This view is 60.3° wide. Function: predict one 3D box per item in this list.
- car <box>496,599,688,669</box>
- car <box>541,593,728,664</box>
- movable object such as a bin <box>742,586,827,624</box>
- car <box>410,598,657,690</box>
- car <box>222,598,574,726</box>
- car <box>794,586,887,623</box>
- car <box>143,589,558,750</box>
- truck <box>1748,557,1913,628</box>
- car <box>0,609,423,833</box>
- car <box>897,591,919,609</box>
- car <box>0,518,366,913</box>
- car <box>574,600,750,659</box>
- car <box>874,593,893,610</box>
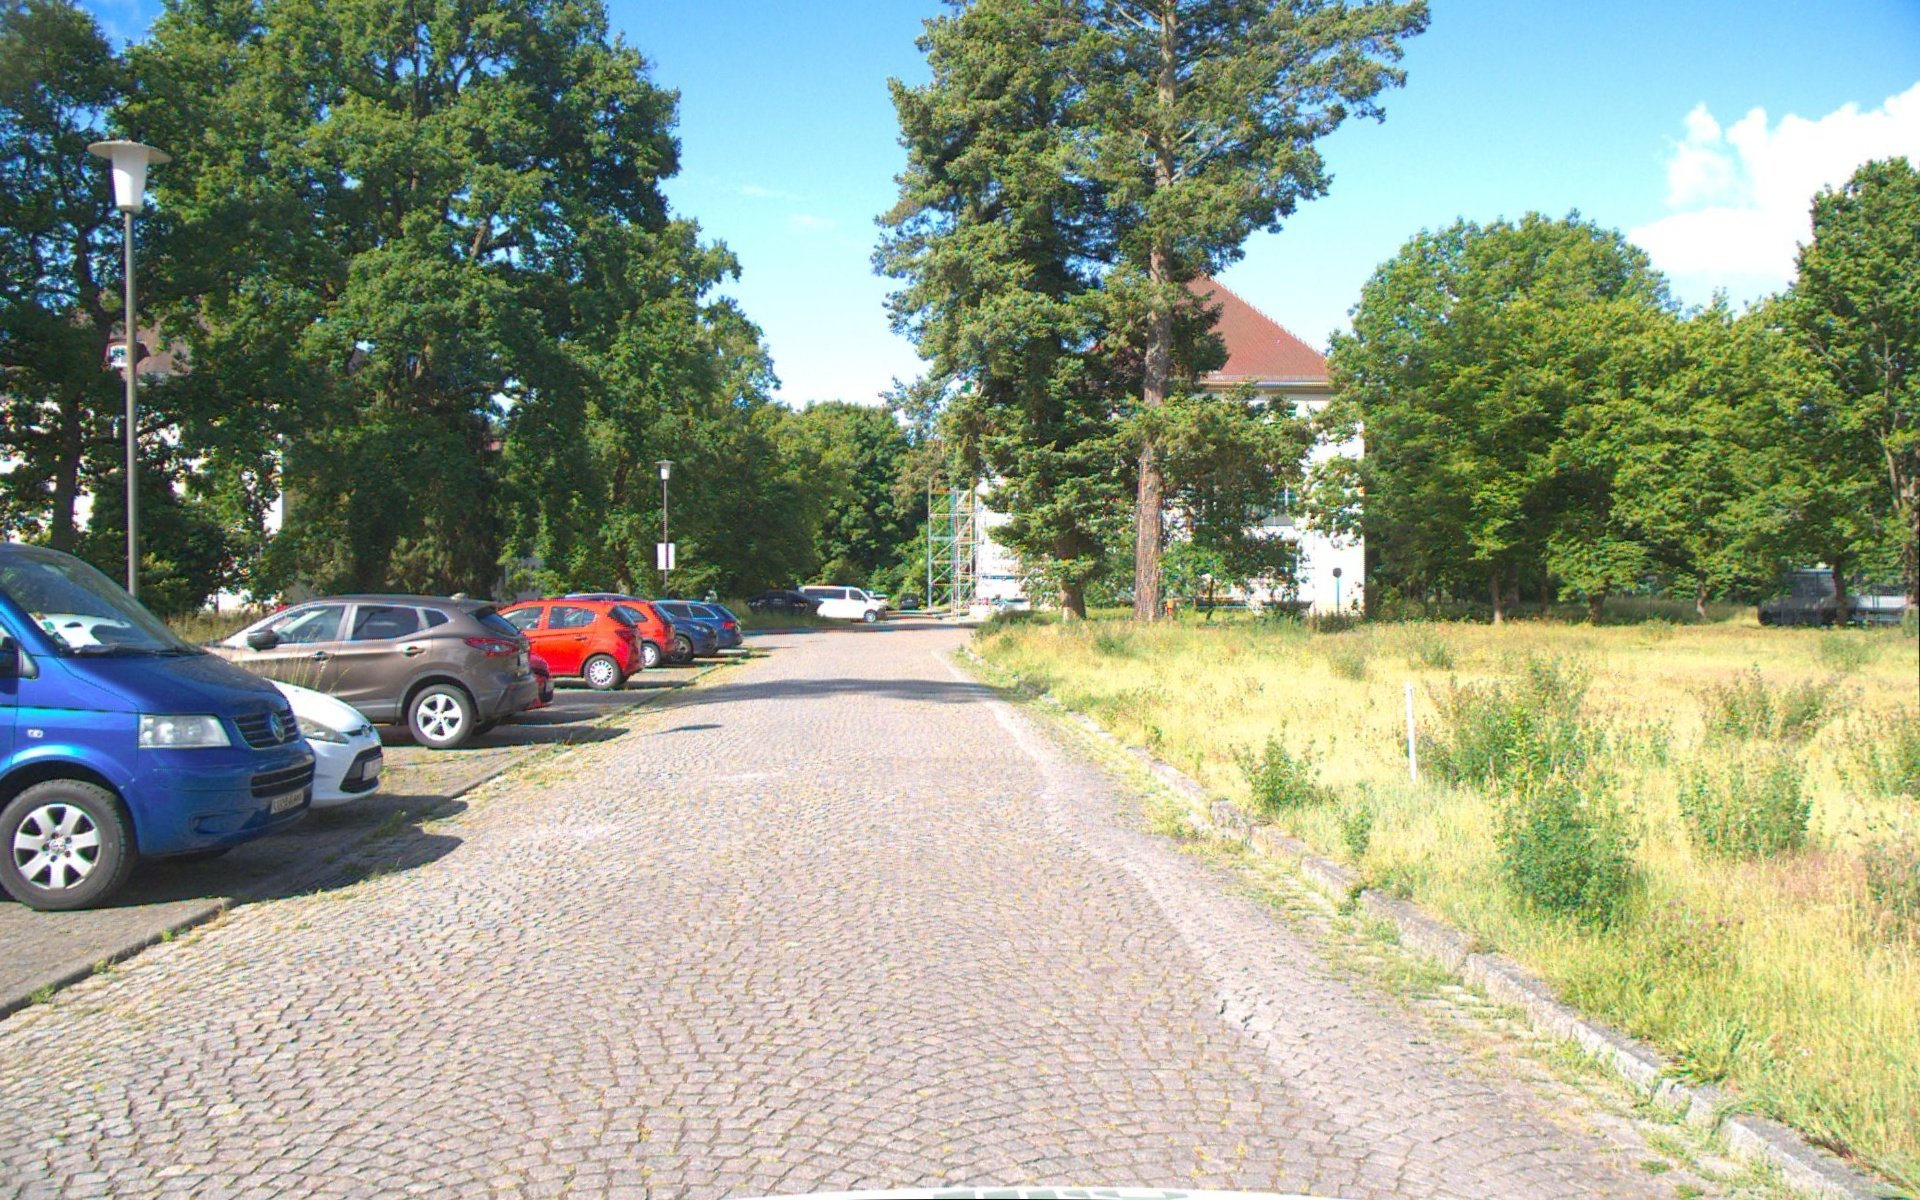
[{"bbox_3d":[-8.060,0.728,36.458,3.844,1.458,1.841,0,1,-2],"label":"car"},{"bbox_3d":[-7.588,0.644,38.847,4.053,1.607,1.883,0,1,-3],"label":"car"},{"bbox_3d":[-8.402,0.244,79.312,3.490,1.775,2.026,-1,0,15],"label":"movable object such as a bin"},{"bbox_3d":[-7.289,0.734,28.571,3.846,1.486,1.840,1,1,-5],"label":"car"},{"bbox_3d":[-7.018,0.759,20.983,3.846,1.474,1.865,1,1,-5],"label":"car"},{"bbox_3d":[-6.682,0.245,92.523,5.131,2.051,1.949,0,0,-4],"label":"car"},{"bbox_3d":[-6.589,0.730,18.273,3.876,1.595,1.972,1,1,-5],"label":"car"},{"bbox_3d":[32.377,-0.257,61.834,2.189,2.466,6.881,1,0,-4],"label":"truck"},{"bbox_3d":[-6.016,0.826,11.966,3.742,1.465,1.681,1,0,-6],"label":"car"},{"bbox_3d":[-5.010,0.025,159.006,1.932,1.697,4.083,-1,0,-3],"label":"car"},{"bbox_3d":[-6.047,0.563,9.359,4.624,2.002,2.004,1,0,-3],"label":"car"},{"bbox_3d":[-7.782,0.757,43.524,4.270,1.470,1.921,0,1,-1],"label":"car"},{"bbox_3d":[-7.346,0.111,158.568,1.776,1.607,4.132,-1,0,-3],"label":"car"}]
